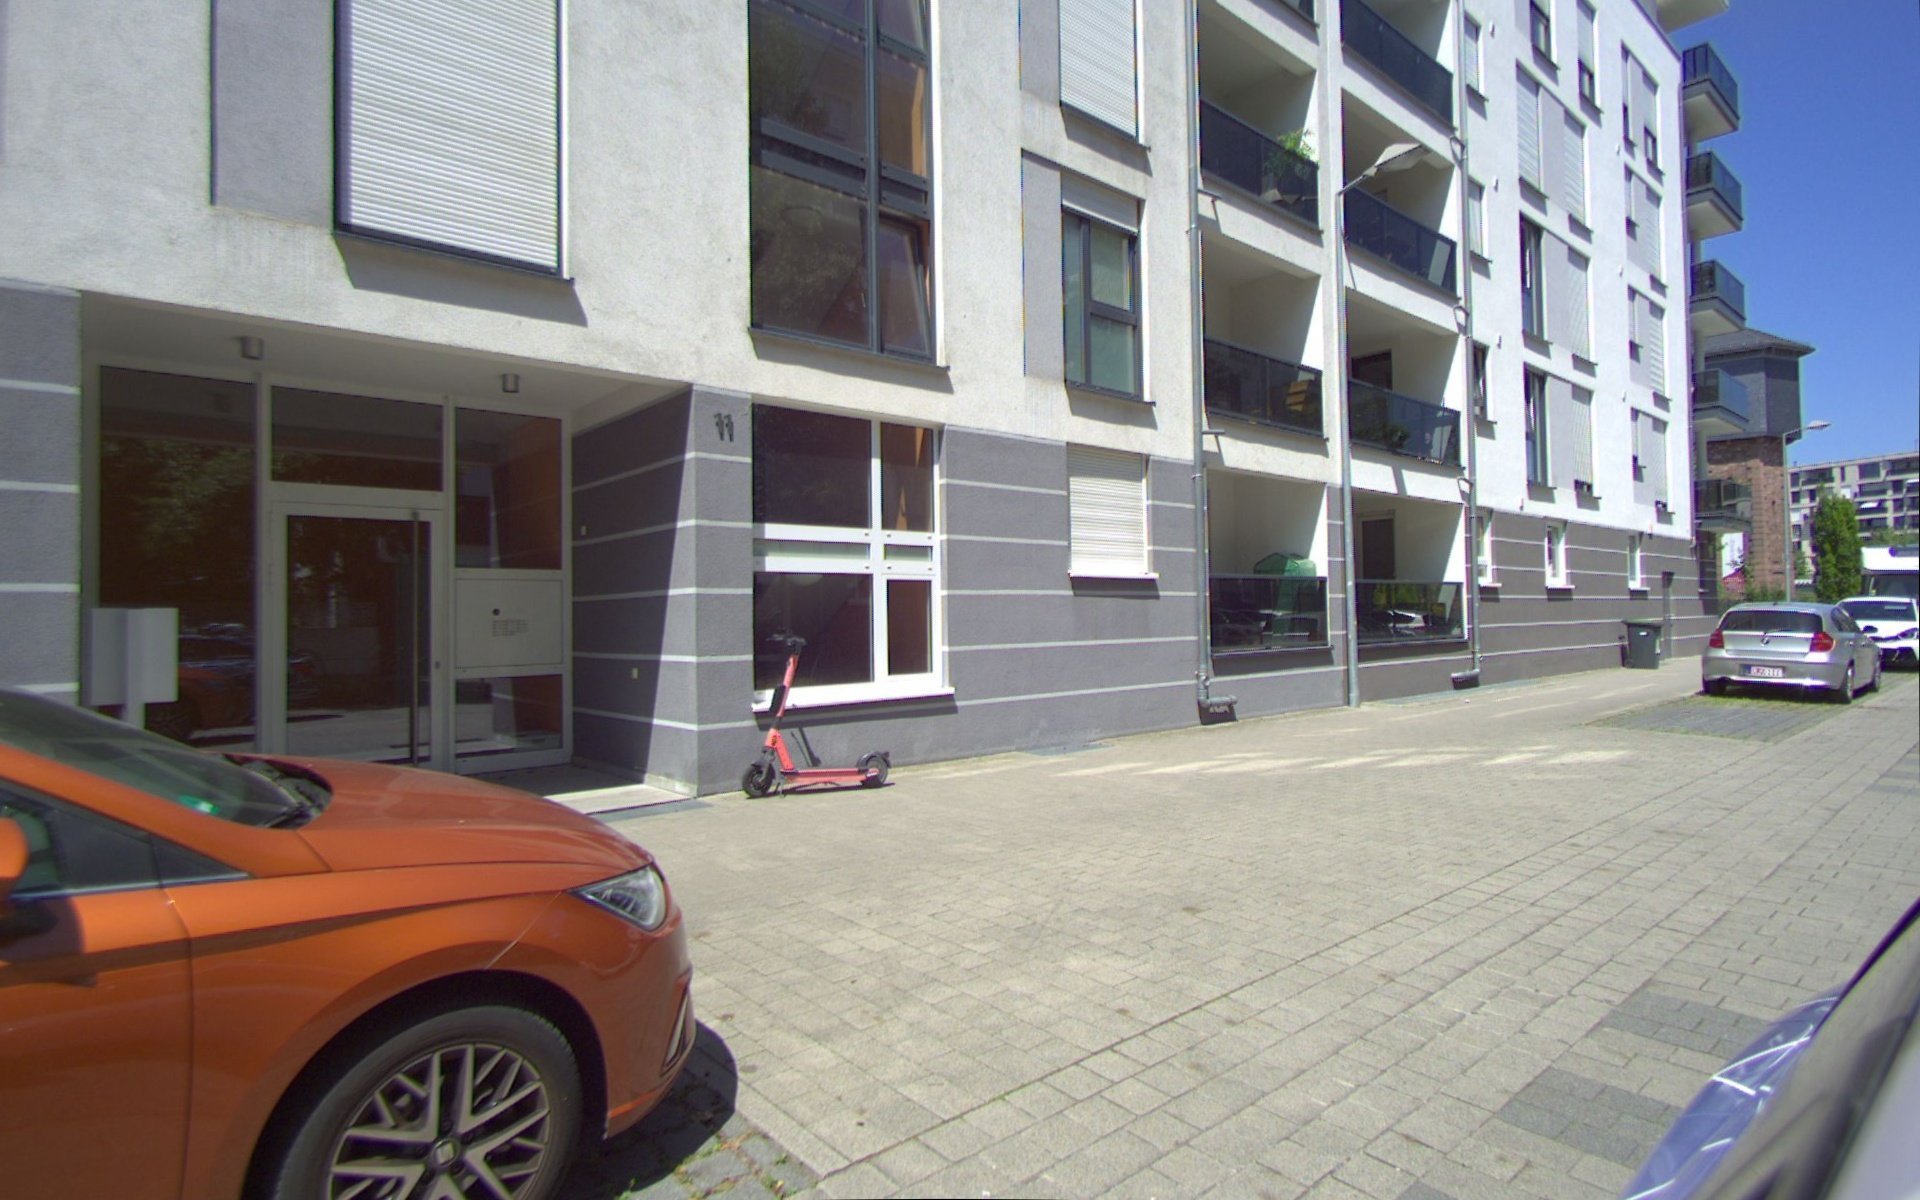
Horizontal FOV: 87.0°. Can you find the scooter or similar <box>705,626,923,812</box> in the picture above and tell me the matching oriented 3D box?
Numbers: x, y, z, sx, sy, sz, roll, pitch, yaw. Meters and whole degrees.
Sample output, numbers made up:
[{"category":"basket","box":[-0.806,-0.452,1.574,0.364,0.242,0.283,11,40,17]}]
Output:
[{"category":"scooter or similar","box":[-1.087,0.840,7.571,1.498,1.241,0.548,-1,-2,-26]}]

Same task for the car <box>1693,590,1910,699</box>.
[{"category":"car","box":[13.115,0.603,15.683,4.348,1.434,1.848,-1,-1,-41]}]

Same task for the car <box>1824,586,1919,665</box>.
[{"category":"car","box":[19.811,0.479,21.480,4.190,1.524,1.808,-1,0,-43]}]

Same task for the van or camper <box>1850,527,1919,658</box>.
[{"category":"van or camper","box":[24.579,-0.238,25.409,7.694,2.943,2.441,-1,-2,-43]}]

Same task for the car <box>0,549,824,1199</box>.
[{"category":"car","box":[-2.495,0.677,1.932,4.184,1.506,1.740,-1,0,-41]}]
